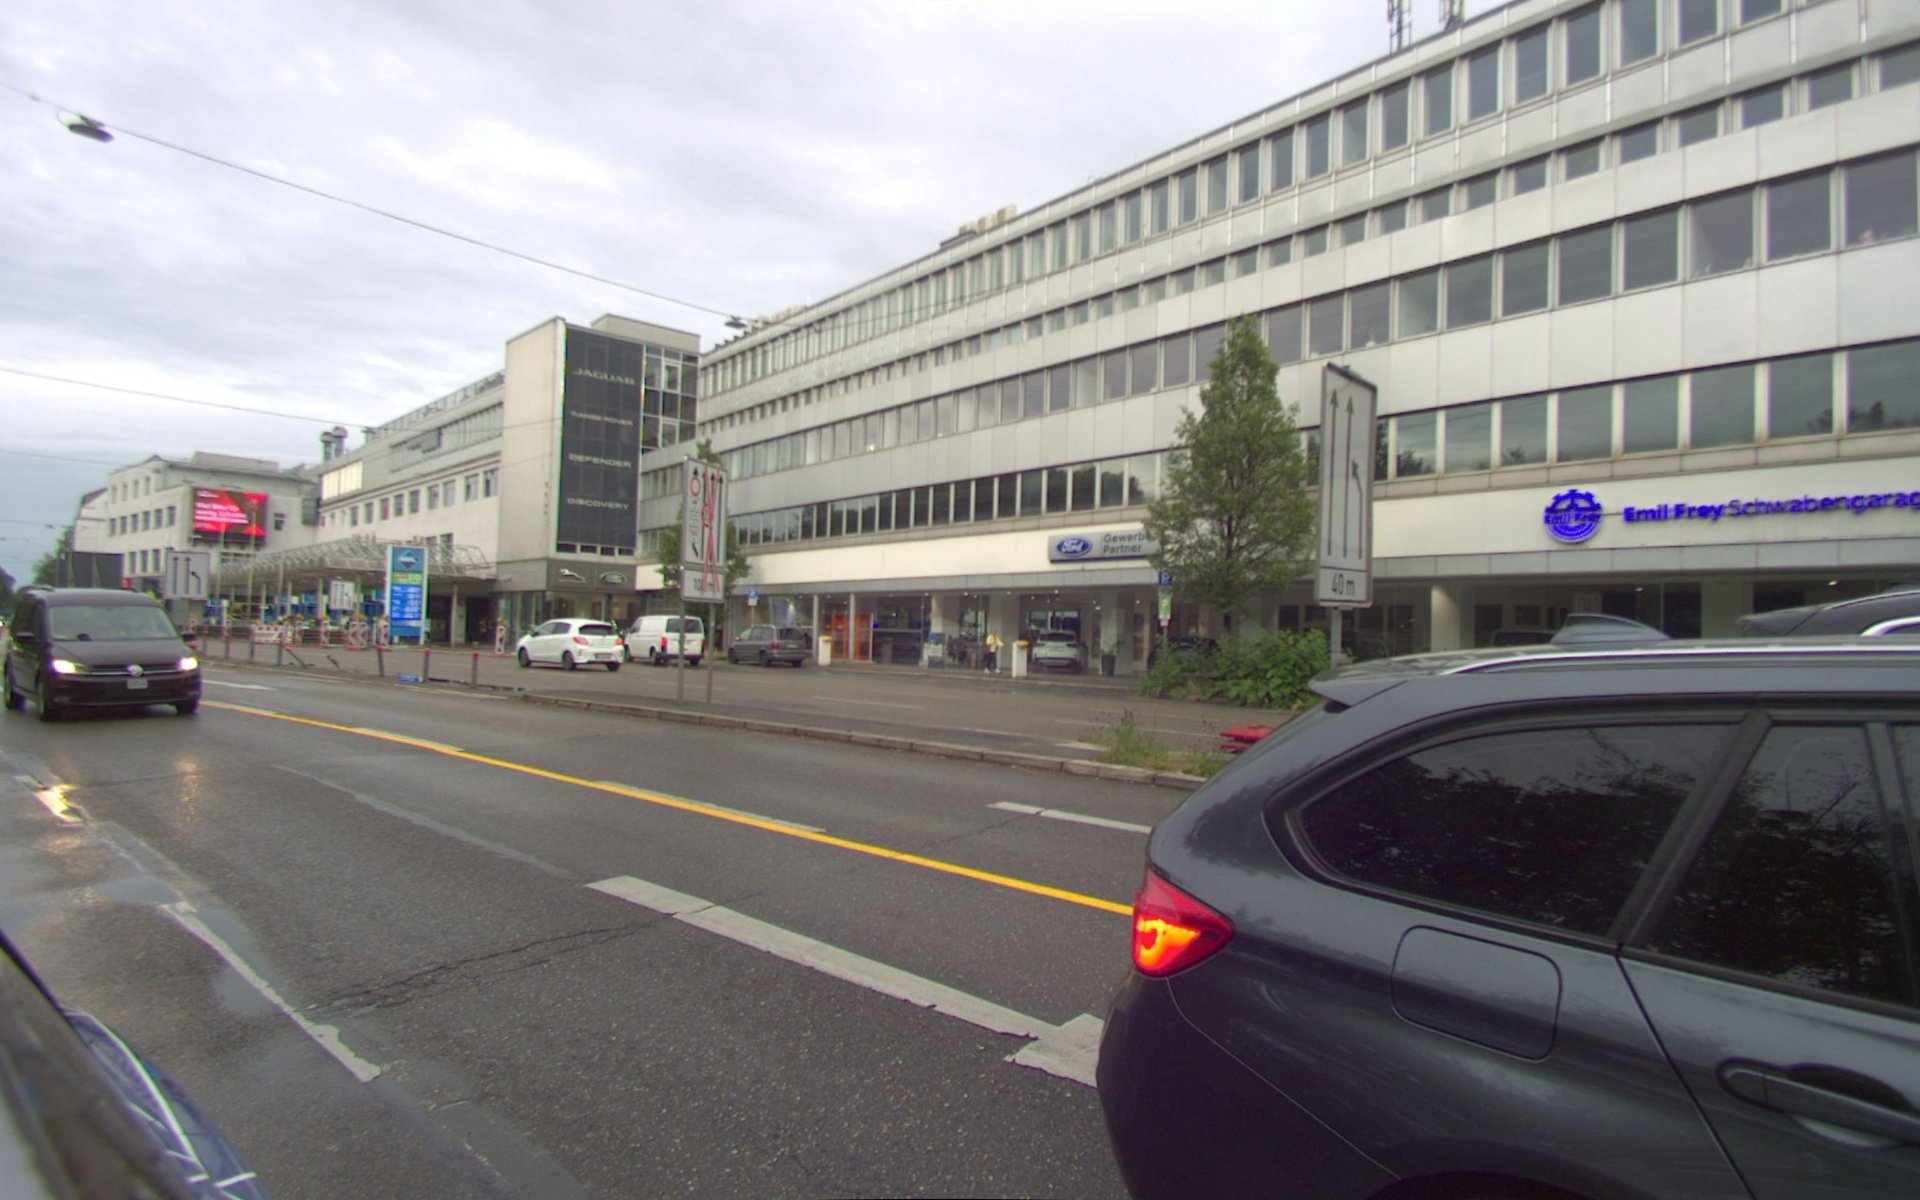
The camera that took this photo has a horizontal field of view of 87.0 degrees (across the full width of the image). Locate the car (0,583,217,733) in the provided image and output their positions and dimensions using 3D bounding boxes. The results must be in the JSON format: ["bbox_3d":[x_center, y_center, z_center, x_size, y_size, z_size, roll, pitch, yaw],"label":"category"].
[{"bbox_3d":[-12.383,0.723,14.555,4.429,1.828,1.880,-1,0,42],"label":"car"}]

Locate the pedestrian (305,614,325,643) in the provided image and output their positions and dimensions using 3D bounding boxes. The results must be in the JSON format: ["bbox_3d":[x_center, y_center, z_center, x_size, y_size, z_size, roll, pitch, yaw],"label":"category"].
[{"bbox_3d":[-42.193,1.847,66.181,0.882,1.828,0.942,-1,0,-45],"label":"pedestrian"}]

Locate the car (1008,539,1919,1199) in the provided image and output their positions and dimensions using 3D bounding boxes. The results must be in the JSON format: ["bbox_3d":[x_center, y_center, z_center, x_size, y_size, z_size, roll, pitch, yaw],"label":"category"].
[{"bbox_3d":[2.335,0.690,1.079,4.476,1.469,1.757,-1,-3,42],"label":"car"}]

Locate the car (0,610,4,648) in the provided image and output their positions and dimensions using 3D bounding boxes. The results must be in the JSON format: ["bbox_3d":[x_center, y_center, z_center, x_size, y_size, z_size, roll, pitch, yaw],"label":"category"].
[{"bbox_3d":[-43.527,1.285,44.617,3.948,1.629,1.747,-1,0,43],"label":"car"}]

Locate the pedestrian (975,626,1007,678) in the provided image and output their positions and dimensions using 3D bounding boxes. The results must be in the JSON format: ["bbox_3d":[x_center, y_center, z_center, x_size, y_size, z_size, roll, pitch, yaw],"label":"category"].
[{"bbox_3d":[1.115,1.847,36.104,0.750,1.788,0.865,-1,0,-42],"label":"pedestrian"}]

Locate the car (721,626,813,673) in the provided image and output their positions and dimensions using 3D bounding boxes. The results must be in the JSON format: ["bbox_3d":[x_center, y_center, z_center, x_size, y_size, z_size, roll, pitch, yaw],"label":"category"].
[{"bbox_3d":[-8.274,2.070,43.227,1.895,1.829,4.169,-1,0,-44],"label":"car"}]

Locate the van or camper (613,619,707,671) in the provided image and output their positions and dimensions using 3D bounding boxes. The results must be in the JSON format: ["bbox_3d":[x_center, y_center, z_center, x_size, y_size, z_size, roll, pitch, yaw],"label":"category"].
[{"bbox_3d":[-12.133,1.775,40.754,1.911,1.938,4.692,2,-2,-39],"label":"van or camper"}]

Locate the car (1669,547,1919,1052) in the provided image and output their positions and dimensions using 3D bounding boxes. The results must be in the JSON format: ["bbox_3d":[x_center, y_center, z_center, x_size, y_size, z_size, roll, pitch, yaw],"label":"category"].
[{"bbox_3d":[4.896,0.637,2.929,4.445,1.668,1.789,-1,0,44],"label":"car"}]

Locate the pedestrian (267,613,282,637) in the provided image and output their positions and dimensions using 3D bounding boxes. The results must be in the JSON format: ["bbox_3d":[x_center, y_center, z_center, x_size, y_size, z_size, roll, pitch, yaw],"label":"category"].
[{"bbox_3d":[-51.109,1.856,75.445,0.881,1.828,0.943,-1,0,-35],"label":"pedestrian"}]

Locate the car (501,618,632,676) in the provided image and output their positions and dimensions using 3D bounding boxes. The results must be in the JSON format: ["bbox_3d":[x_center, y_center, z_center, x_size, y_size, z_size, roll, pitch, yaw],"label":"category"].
[{"bbox_3d":[-11.628,1.379,29.872,3.756,1.544,1.785,-1,-6,36],"label":"car"}]
